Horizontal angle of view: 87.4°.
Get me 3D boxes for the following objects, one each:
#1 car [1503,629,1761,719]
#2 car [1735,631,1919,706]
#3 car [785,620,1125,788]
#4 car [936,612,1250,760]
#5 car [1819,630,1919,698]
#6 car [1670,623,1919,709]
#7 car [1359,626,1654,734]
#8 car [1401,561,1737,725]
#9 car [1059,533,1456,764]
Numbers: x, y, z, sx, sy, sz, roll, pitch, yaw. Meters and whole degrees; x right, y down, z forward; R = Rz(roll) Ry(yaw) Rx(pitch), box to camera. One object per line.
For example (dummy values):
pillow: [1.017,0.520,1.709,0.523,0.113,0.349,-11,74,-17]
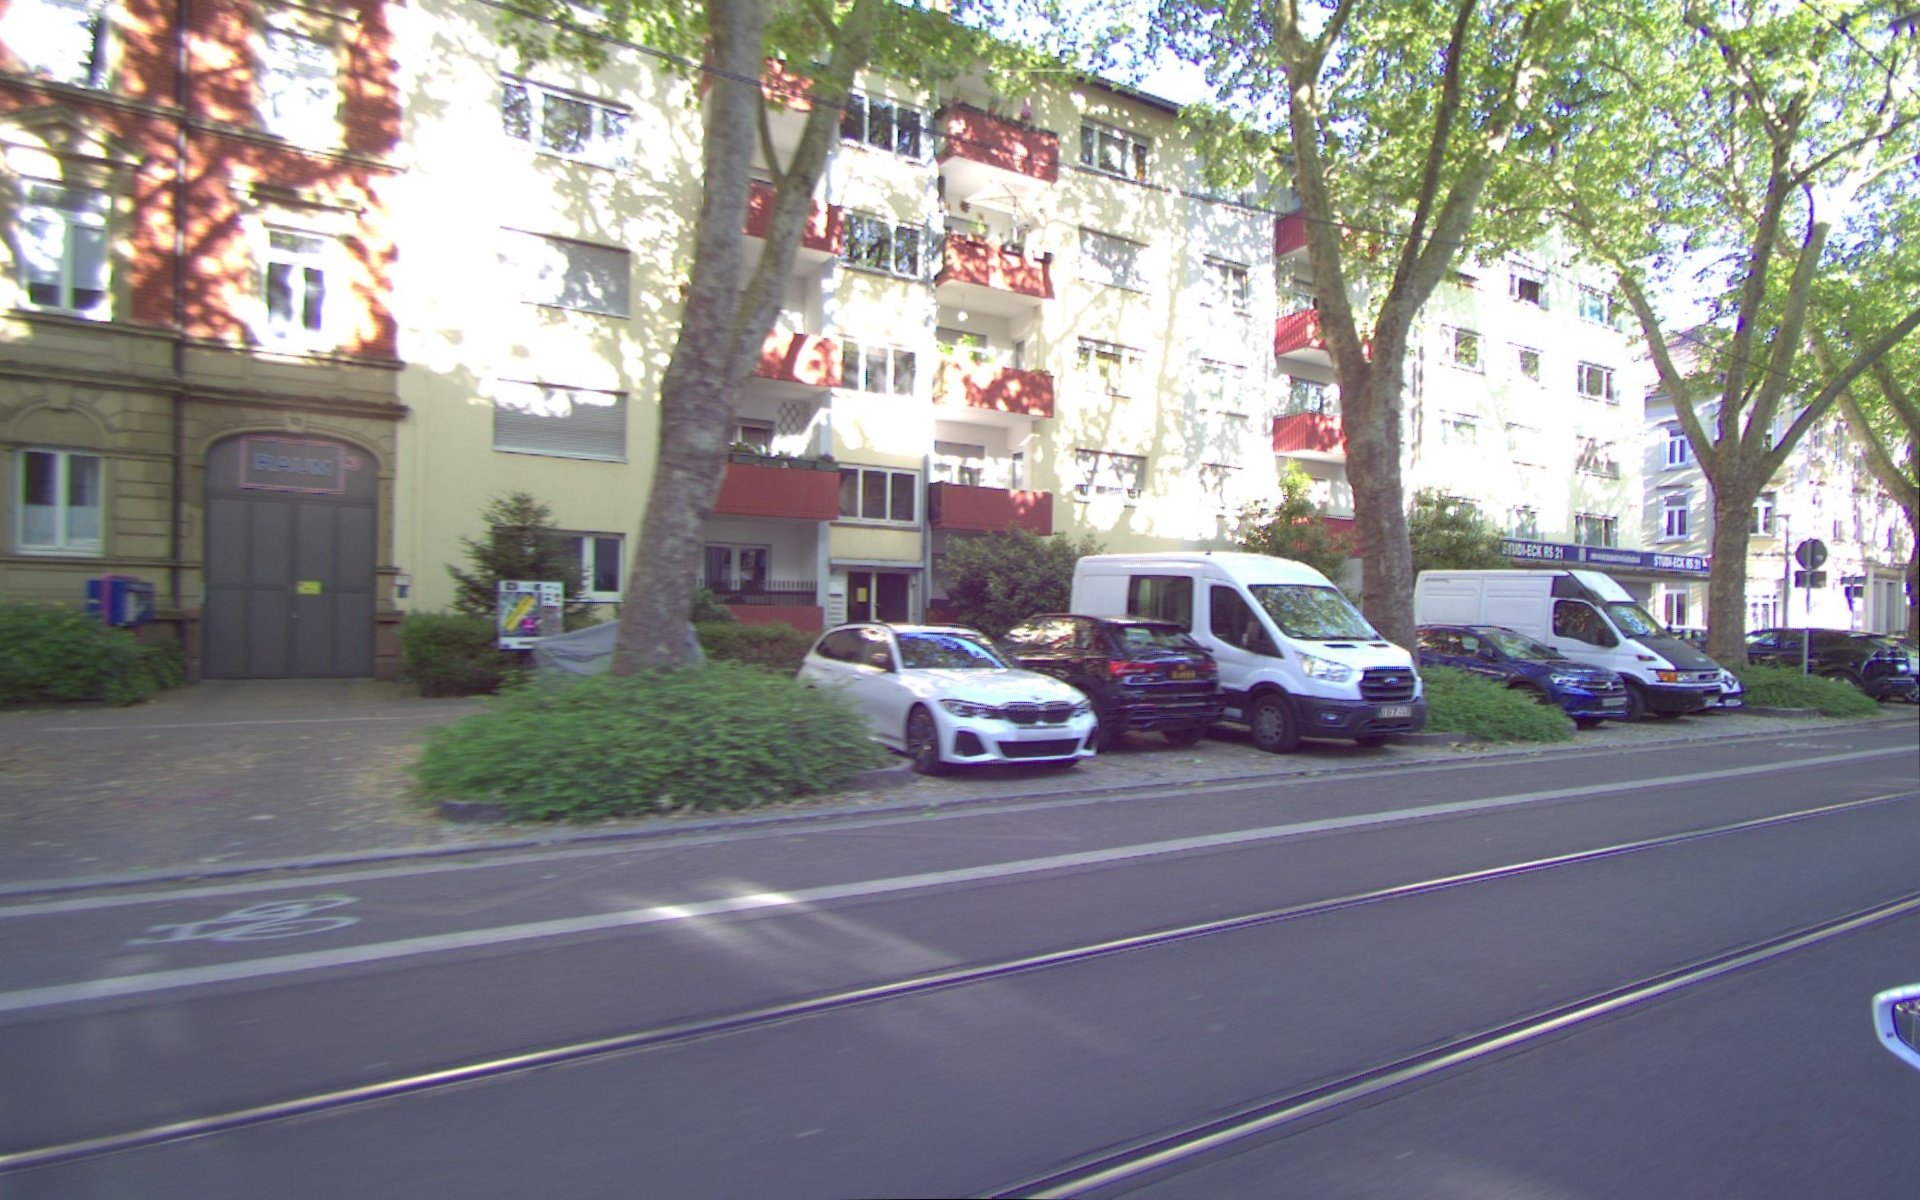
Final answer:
car: [13.065,1.372,19.756,1.839,1.498,3.836,1,-1,-30]
car: [20.852,1.548,23.491,1.750,1.542,3.967,1,-1,-30]
car: [-0.297,0.975,11.227,1.910,1.403,4.390,1,-1,-29]
car: [1.526,0.970,13.202,1.850,1.559,4.351,1,-1,-29]
car: [22.869,1.522,23.851,1.768,1.551,3.411,1,-1,-32]
car: [18.461,1.383,22.346,1.872,1.669,3.967,1,-1,-30]
car: [8.971,1.239,16.852,1.849,1.485,4.002,1,-1,-28]
car: [11.010,0.724,18.574,2.060,2.601,4.916,1,-1,-32]
car: [3.722,0.566,13.773,2.032,2.510,5.337,1,-1,-29]
